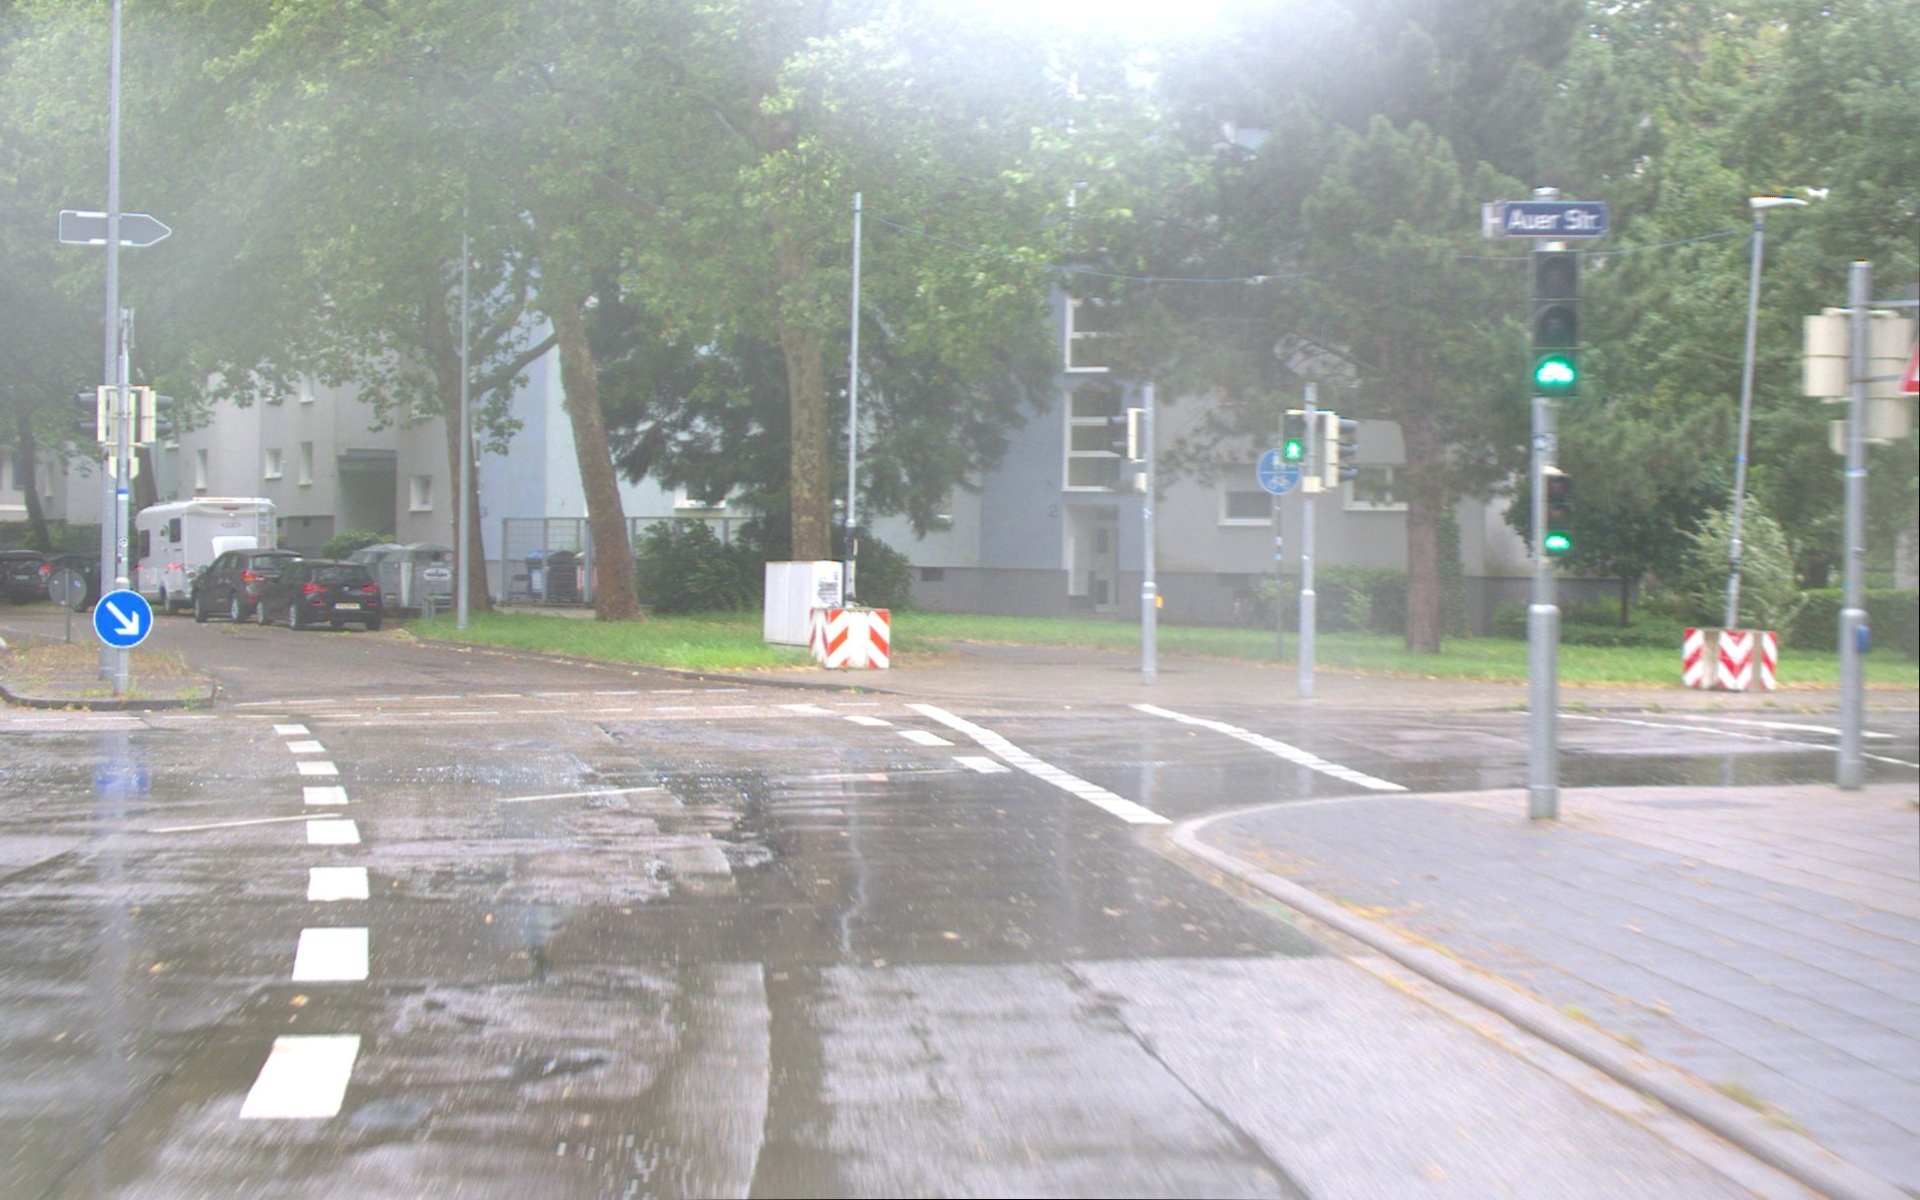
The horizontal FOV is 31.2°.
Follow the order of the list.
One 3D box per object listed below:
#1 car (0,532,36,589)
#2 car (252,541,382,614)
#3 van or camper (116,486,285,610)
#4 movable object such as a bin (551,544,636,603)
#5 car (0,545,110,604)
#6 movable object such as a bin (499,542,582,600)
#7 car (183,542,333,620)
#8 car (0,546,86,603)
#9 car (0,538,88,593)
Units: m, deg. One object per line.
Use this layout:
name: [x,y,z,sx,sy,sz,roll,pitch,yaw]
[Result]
car: [-30.482,-1.198,105.496,1.835,1.691,3.860,2,3,34]
car: [-13.126,-0.477,70.055,1.548,1.385,4.150,2,1,-26]
van or camper: [-18.198,-1.237,82.066,2.318,2.798,6.865,1,0,-26]
movable object such as a bin: [-9.357,-0.679,87.701,1.862,1.427,1.213,2,1,44]
car: [-26.028,-0.712,96.915,1.800,1.596,3.762,2,1,32]
movable object such as a bin: [-10.868,-0.753,89.013,1.862,1.427,1.213,2,1,44]
car: [-15.356,-0.390,75.026,1.915,1.615,4.454,1,-1,-29]
car: [-27.637,-0.762,100.292,1.800,1.596,3.993,2,1,32]
car: [-28.437,-1.056,103.214,2.033,1.596,3.992,2,1,35]
